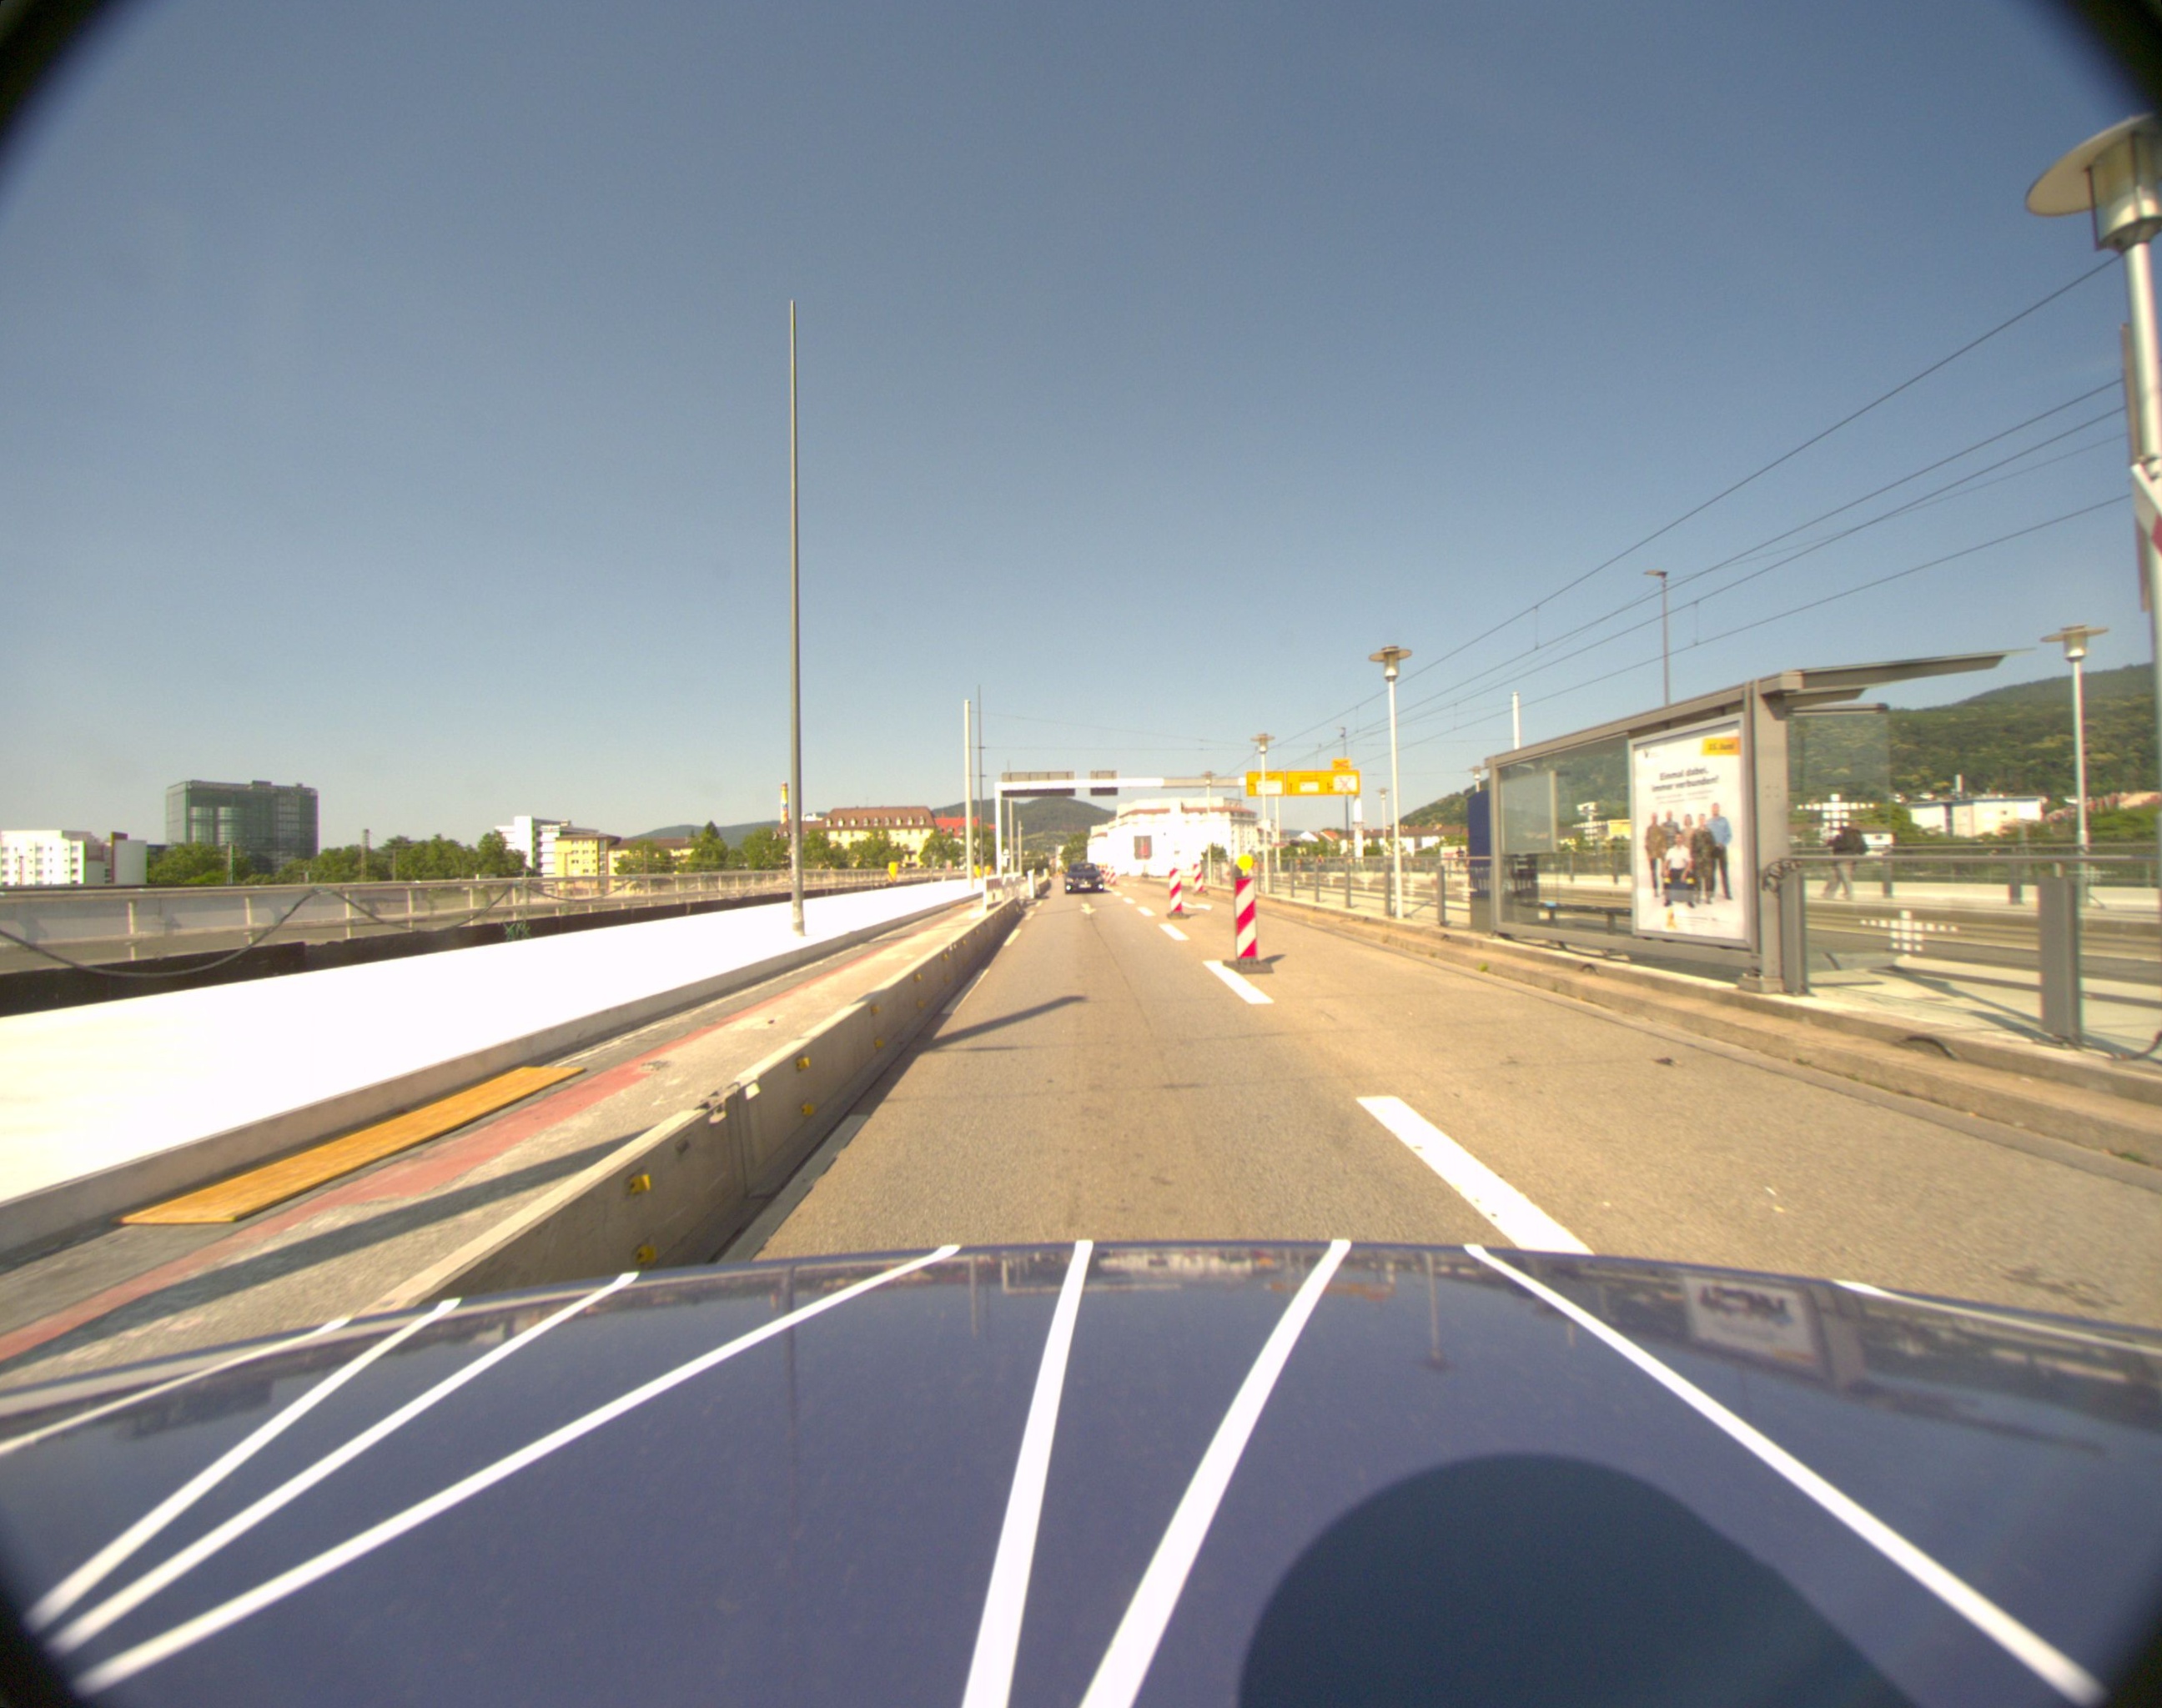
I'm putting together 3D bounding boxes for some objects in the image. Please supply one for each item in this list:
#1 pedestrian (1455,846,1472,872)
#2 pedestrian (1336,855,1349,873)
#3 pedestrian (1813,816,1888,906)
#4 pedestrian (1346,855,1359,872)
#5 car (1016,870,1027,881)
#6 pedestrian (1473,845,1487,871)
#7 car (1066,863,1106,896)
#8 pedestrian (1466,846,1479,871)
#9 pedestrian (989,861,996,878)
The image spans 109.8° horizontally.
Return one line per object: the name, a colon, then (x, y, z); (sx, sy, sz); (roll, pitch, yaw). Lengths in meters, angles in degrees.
pedestrian: (25.206, 0.311, 50.070); (0.754, 1.677, 0.732); (-1, -1, 0)
pedestrian: (24.464, 0.921, 71.043); (0.746, 1.631, 0.895); (-4, -1, -4)
pedestrian: (14.640, 0.140, 14.475); (0.661, 1.644, 0.740); (-1, 0, 11)
pedestrian: (25.368, 0.916, 71.049); (0.721, 1.535, 0.889); (-4, -1, -4)
car: (-12.185, 4.394, 155.076); (1.938, 2.077, 6.472); (-2, -2, -2)
pedestrian: (26.114, 0.288, 49.706); (0.505, 1.677, 0.773); (-1, -1, 0)
car: (0.181, 1.173, 35.750); (1.698, 1.388, 4.363); (-3, -1, -1)
pedestrian: (26.020, 0.315, 50.523); (0.384, 1.677, 0.770); (-1, -1, 0)
pedestrian: (-10.414, 1.862, 89.096); (0.733, 1.953, 1.016); (0, -1, -3)
